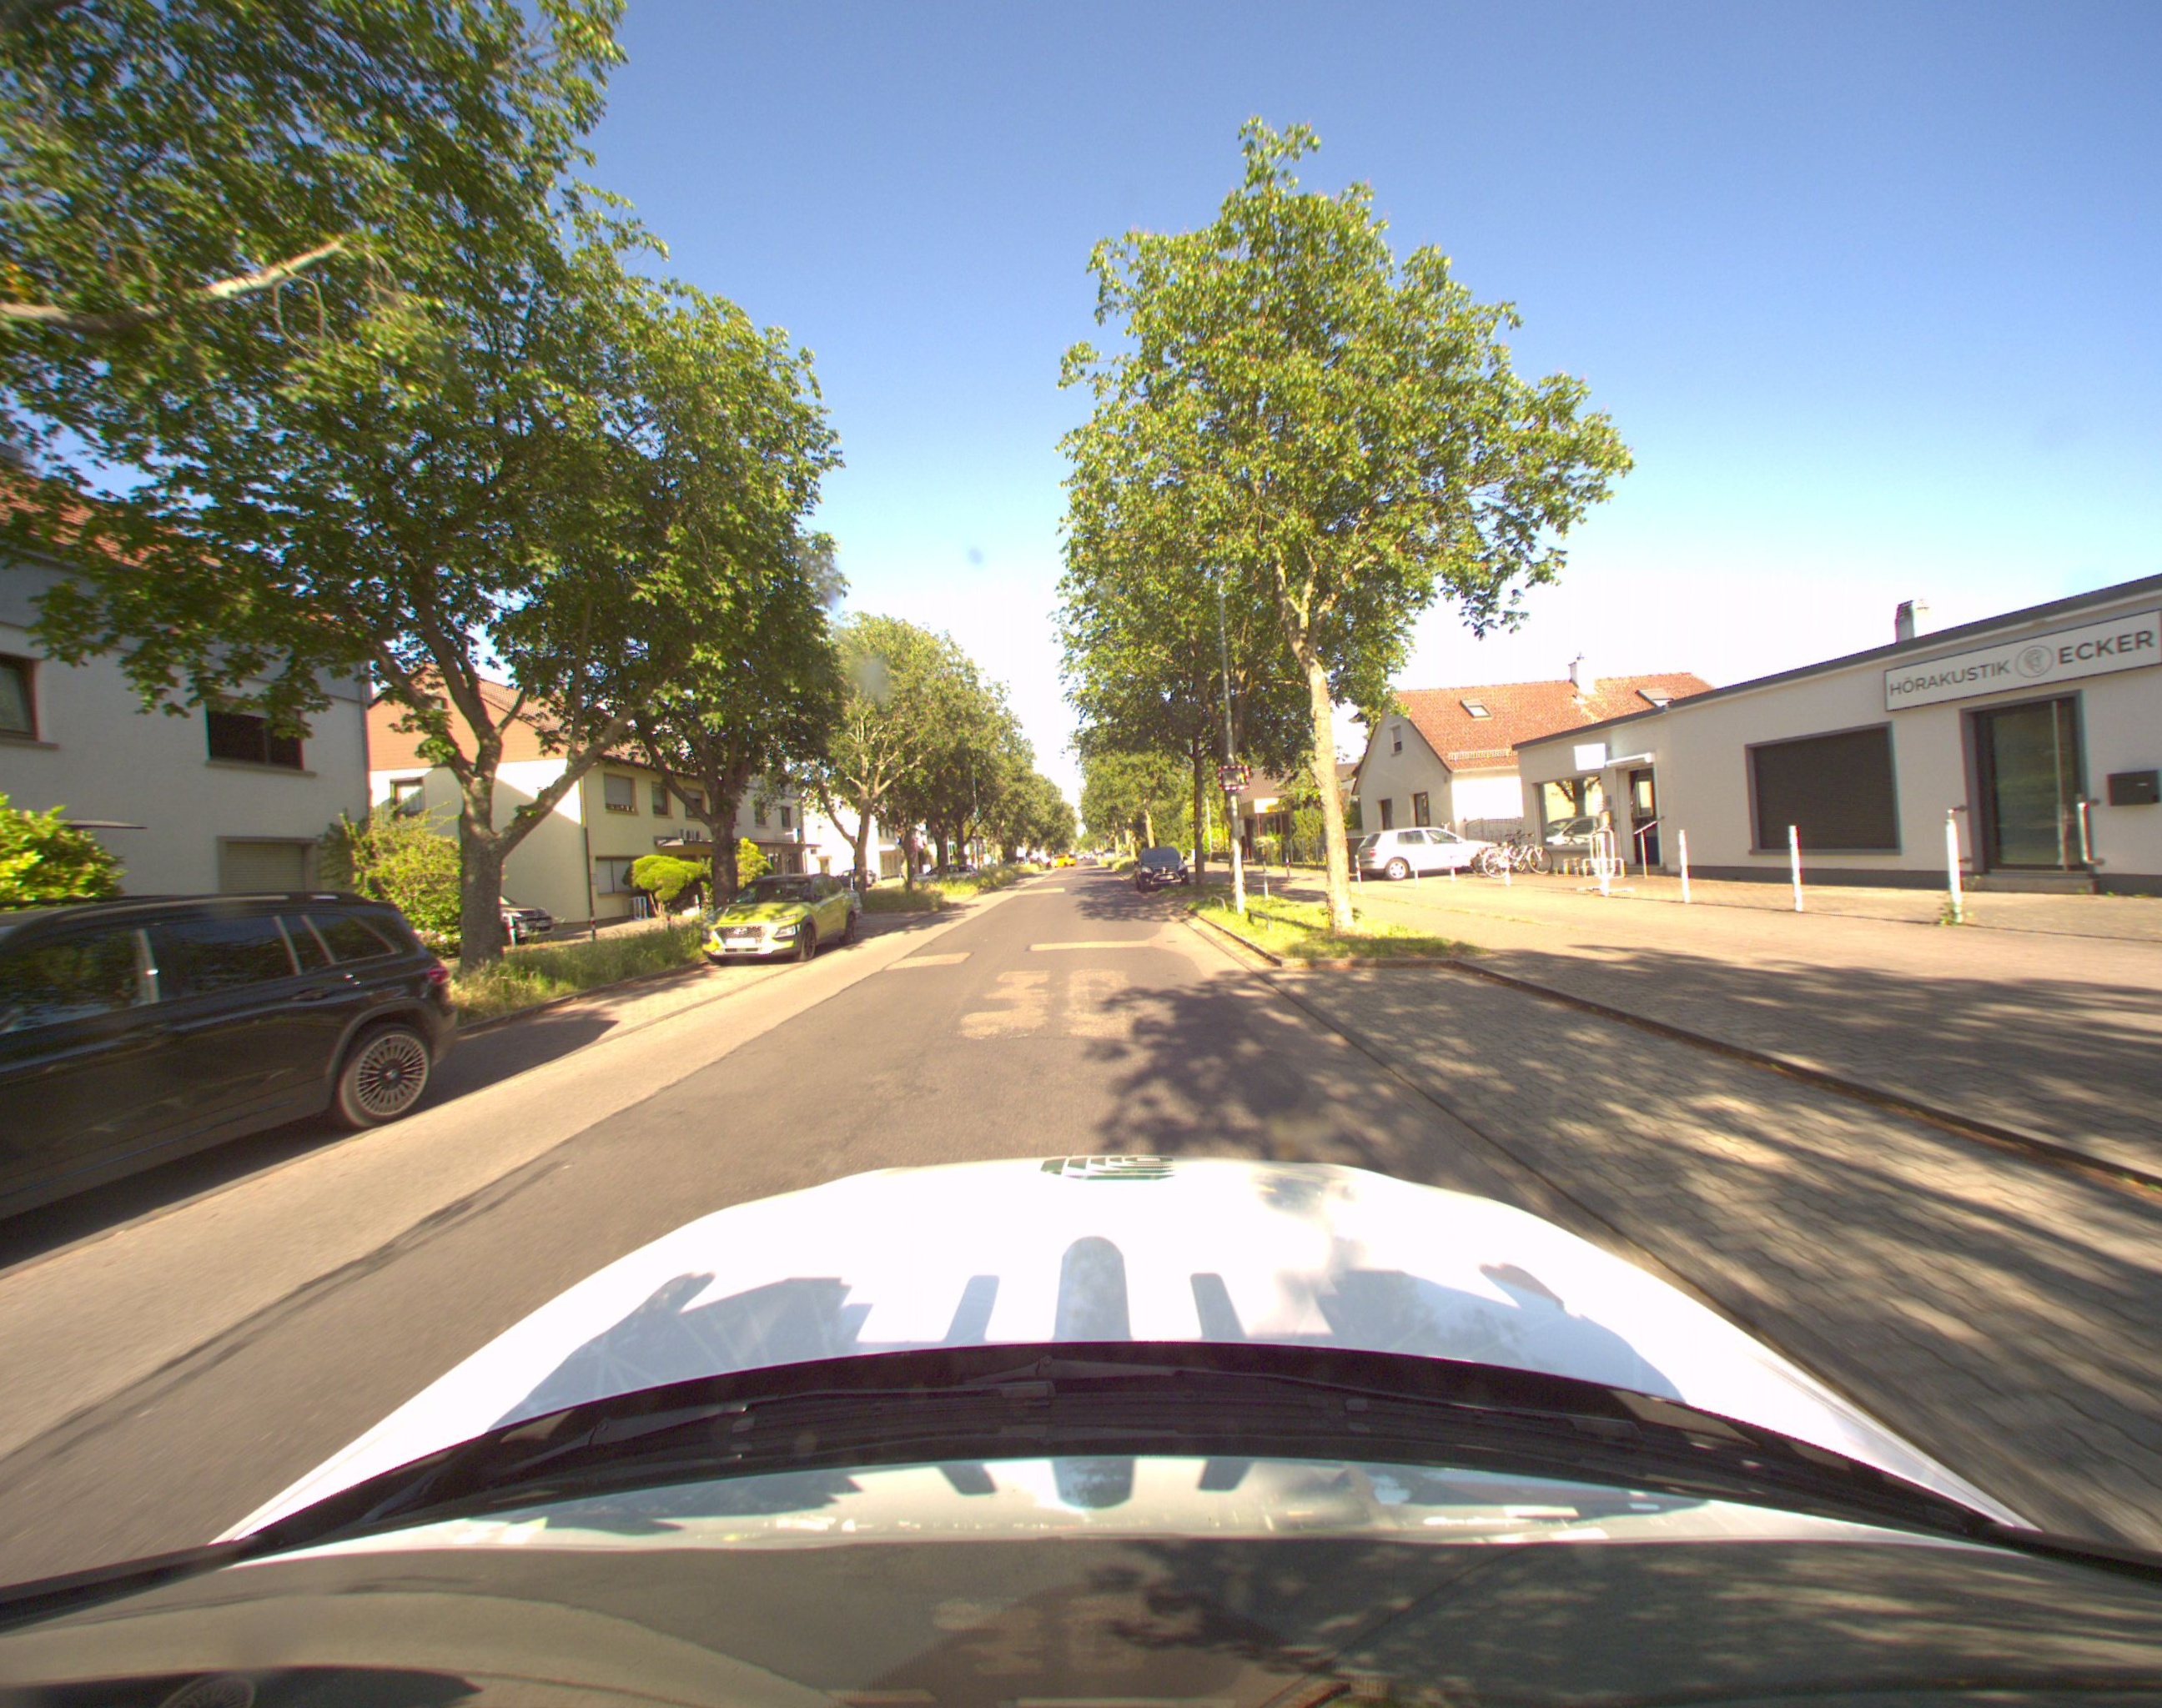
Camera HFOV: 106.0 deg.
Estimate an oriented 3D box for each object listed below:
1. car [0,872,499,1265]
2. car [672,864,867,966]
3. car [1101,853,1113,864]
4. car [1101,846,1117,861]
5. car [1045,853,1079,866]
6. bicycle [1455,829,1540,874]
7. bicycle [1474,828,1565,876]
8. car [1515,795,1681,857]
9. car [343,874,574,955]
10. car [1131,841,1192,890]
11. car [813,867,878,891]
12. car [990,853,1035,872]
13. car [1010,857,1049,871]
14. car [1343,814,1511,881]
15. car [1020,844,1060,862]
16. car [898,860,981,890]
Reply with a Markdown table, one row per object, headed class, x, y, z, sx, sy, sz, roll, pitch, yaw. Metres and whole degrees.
| class | x | y | z | sx | sy | sz | roll | pitch | yaw |
| --- | --- | --- | --- | --- | --- | --- | --- | --- | --- |
| car | -5.799 | 1.013 | 4.198 | 1.946 | 1.727 | 4.876 | -2 | -1 | 1 |
| car | -5.752 | 1.043 | 15.724 | 1.932 | 1.609 | 4.385 | -2 | -1 | 1 |
| car | 4.516 | 0.789 | 143.111 | 1.896 | 1.774 | 4.301 | -2 | 0 | 1 |
| car | 3.628 | -0.061 | 104.934 | 1.896 | 1.774 | 4.301 | -2 | 0 | 1 |
| car | -2.432 | 0.700 | 103.813 | 3.837 | 1.479 | 1.906 | -2 | 0 | 32 |
| bicycle | 11.013 | -0.073 | 21.577 | 1.918 | 0.998 | 0.576 | -5 | 1 | -2 |
| bicycle | 11.078 | -0.057 | 20.592 | 1.952 | 0.998 | 0.576 | -5 | 1 | -2 |
| car | 16.117 | -0.871 | 25.518 | 3.978 | 1.488 | 1.900 | -6 | 1 | -3 |
| car | -15.944 | 1.506 | 21.068 | 4.227 | 1.713 | 1.997 | -2 | 1 | -5 |
| car | 3.080 | 0.444 | 32.015 | 1.847 | 1.625 | 4.469 | -5 | -1 | 0 |
| car | -18.770 | 1.976 | 65.039 | 4.545 | 1.617 | 1.998 | -2 | 1 | -4 |
| car | -7.219 | 0.903 | 85.986 | 4.538 | 1.765 | 1.997 | -2 | 1 | -5 |
| car | -5.825 | 1.086 | 92.228 | 4.279 | 1.315 | 1.906 | -2 | 1 | -5 |
| car | 9.974 | -0.210 | 23.690 | 3.976 | 1.488 | 1.901 | -6 | 1 | -1 |
| car | -5.675 | -0.159 | 113.881 | 5.483 | 2.247 | 2.515 | -2 | 1 | -2 |
| car | -8.349 | 1.255 | 48.442 | 4.540 | 1.511 | 1.841 | -2 | 1 | 0 |
